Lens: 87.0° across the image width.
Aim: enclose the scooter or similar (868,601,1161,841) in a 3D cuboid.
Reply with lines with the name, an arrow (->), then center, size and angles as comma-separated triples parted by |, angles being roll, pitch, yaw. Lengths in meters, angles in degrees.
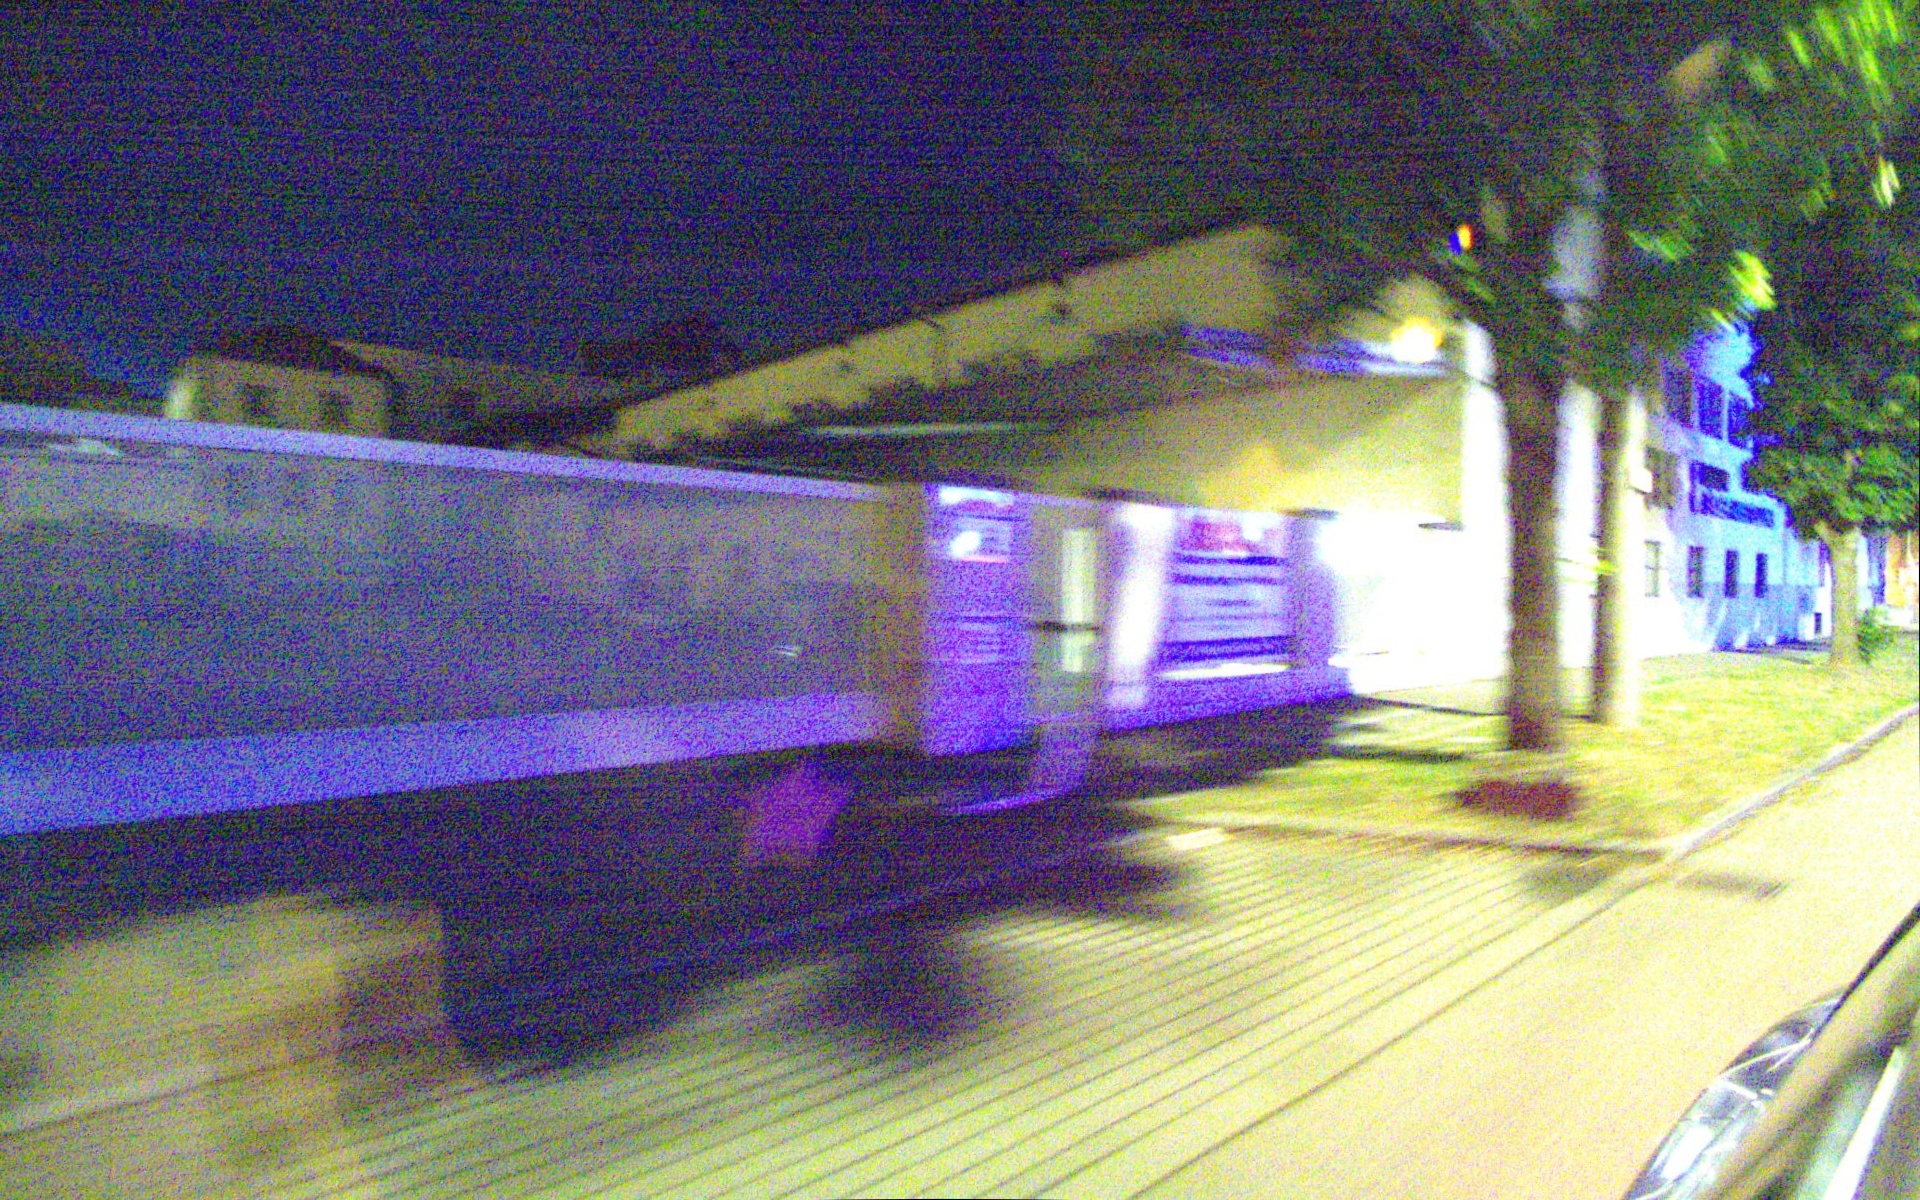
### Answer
scooter or similar -> 0.383, 0.628, 6.046 | 1.877, 1.218, 0.548 | 0, 1, -41
